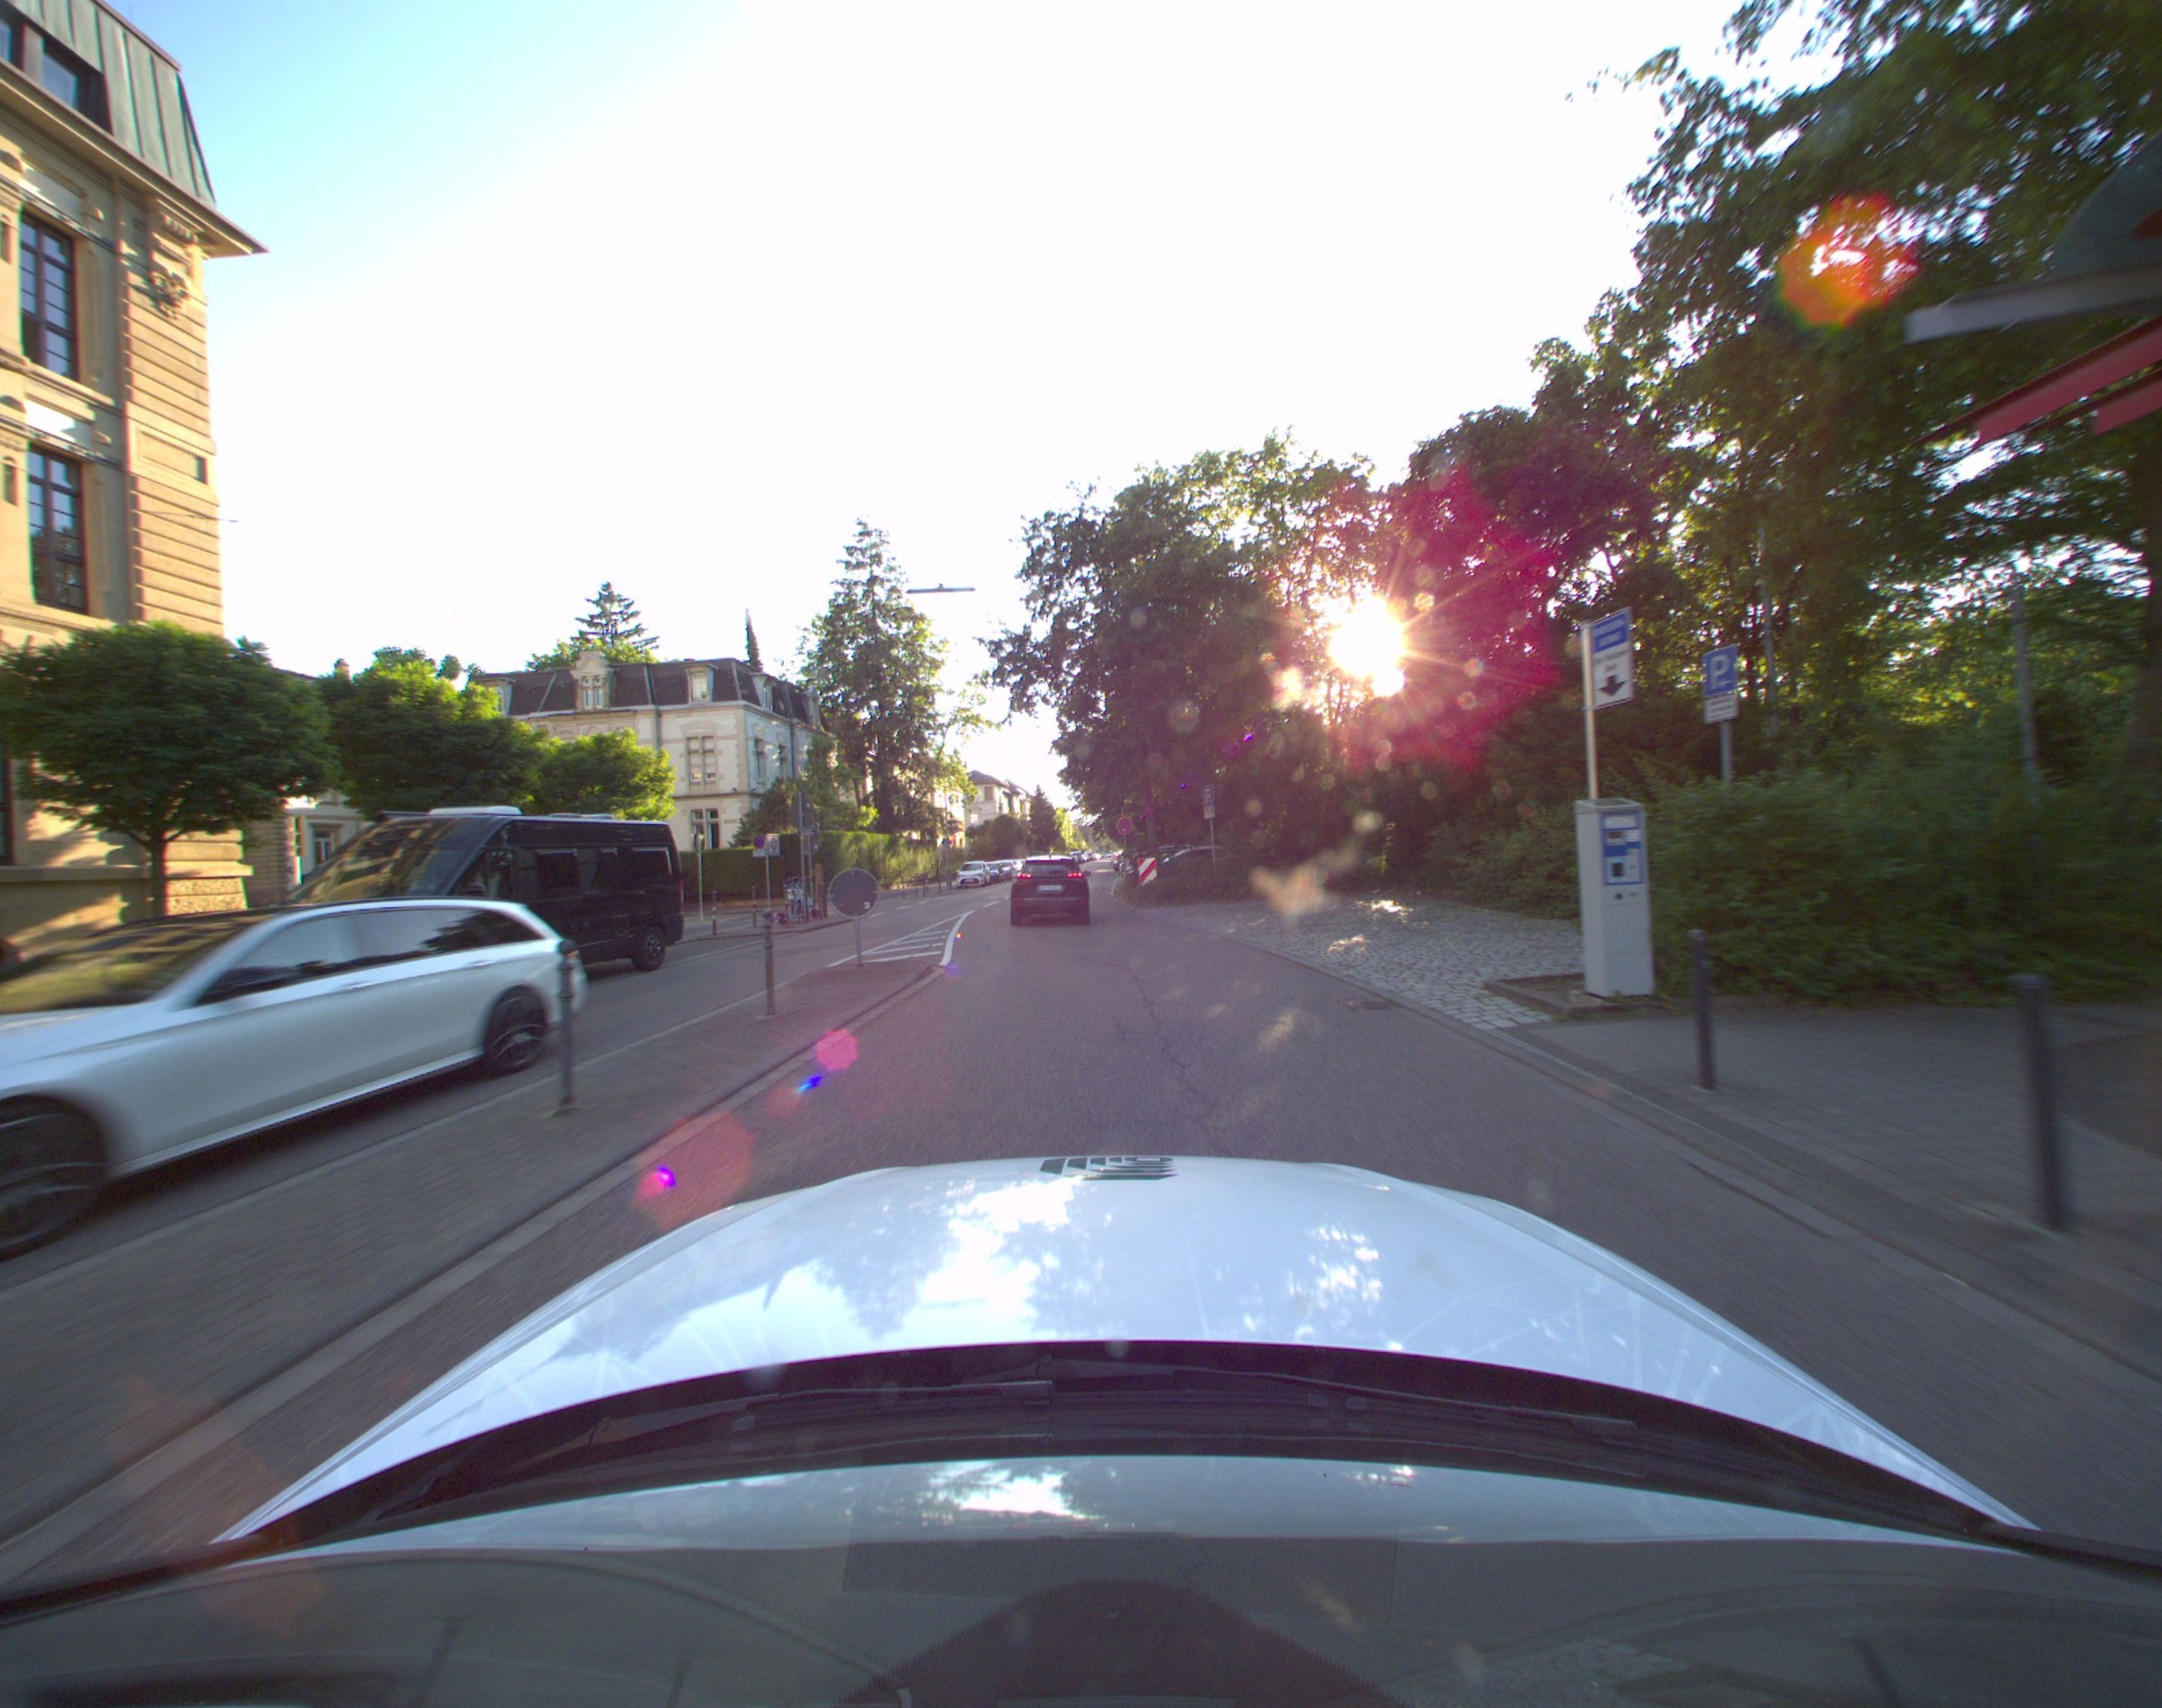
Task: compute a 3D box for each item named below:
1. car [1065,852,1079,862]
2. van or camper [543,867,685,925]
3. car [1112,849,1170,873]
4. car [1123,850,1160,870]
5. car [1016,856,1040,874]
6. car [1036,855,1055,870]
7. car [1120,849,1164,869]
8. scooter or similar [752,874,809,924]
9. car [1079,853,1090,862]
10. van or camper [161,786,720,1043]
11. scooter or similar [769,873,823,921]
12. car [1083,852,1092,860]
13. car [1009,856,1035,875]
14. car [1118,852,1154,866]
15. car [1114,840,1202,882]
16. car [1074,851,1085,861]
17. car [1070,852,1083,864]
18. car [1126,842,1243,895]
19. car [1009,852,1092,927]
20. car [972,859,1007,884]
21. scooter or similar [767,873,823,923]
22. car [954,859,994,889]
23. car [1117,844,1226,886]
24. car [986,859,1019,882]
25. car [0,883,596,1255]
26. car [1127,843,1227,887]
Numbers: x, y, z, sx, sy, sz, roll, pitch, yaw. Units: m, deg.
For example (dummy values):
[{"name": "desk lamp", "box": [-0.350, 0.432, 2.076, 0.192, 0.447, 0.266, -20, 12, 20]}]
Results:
[{"name": "car", "box": [-1.487, 0.534, 135.343, 1.892, 1.574, 4.002, -3, 0, 2]}, {"name": "van or camper", "box": [-19.764, 1.753, 34.636, 4.746, 1.985, 2.003, -3, 4, 4]}, {"name": "car", "box": [4.538, 0.546, 62.346, 4.229, 1.448, 2.021, -5, 0, 0]}, {"name": "car", "box": [7.001, 0.730, 94.293, 3.977, 2.089, 1.756, -3, 0, -3]}, {"name": "car", "box": [-4.743, 0.995, 73.590, 1.607, 1.466, 4.039, -4, 0, 3]}, {"name": "car", "box": [-3.951, 0.957, 90.035, 1.746, 1.413, 3.765, -5, 0, 1]}, {"name": "car", "box": [5.560, 0.468, 74.573, 3.798, 1.448, 1.825, -5, 0, -2]}, {"name": "scooter or similar", "box": [-8.283, 1.237, 22.455, 1.349, 1.275, 0.427, -3, -1, -33]}, {"name": "car", "box": [0.750, 0.746, 173.495, 1.986, 1.816, 4.002, -3, 0, 2]}, {"name": "van or camper", "box": [-8.080, 0.621, 11.798, 2.221, 2.544, 7.084, -2, 0, 2]}, {"name": "scooter or similar", "box": [-8.087, 1.205, 23.136, 1.349, 1.275, 0.427, -3, -1, -33]}, {"name": "car", "box": [1.503, 0.370, 196.635, 1.986, 1.816, 4.002, -3, 0, 2]}, {"name": "car", "box": [-4.977, 0.943, 68.986, 1.607, 1.466, 4.039, -4, 0, 3]}, {"name": "car", "box": [6.517, 0.577, 96.904, 3.977, 1.526, 1.756, -3, 0, -3]}, {"name": "car", "box": [3.932, 0.348, 42.102, 4.291, 1.804, 2.036, -5, 0, 1]}, {"name": "car", "box": [-0.276, 0.325, 157.732, 1.986, 1.768, 4.002, -3, 0, 2]}, {"name": "car", "box": [-0.777, 0.688, 145.859, 1.985, 2.013, 4.004, -3, 0, 4]}, {"name": "car", "box": [3.648, 0.494, 29.196, 3.971, 1.554, 1.727, -4, 1, 2]}, {"name": "car", "box": [-0.766, 0.761, 19.501, 1.768, 1.568, 4.103, -1, 0, -4]}, {"name": "car", "box": [-5.940, 1.125, 52.947, 1.607, 1.485, 3.744, -4, 0, 2]}, {"name": "scooter or similar", "box": [-7.746, 1.178, 22.074, 0.426, 1.275, 1.353, -3, -1, 38]}, {"name": "car", "box": [-6.183, 1.118, 47.305, 1.608, 1.515, 3.713, -5, 0, 1]}, {"name": "car", "box": [4.029, 0.480, 36.535, 4.488, 1.554, 1.849, -3, 1, -12]}, {"name": "car", "box": [-5.521, 1.154, 57.692, 1.607, 1.466, 4.039, -4, 0, 3]}, {"name": "car", "box": [-5.455, 1.045, 5.185, 1.734, 1.458, 4.626, -4, 0, 2]}, {"name": "car", "box": [3.995, 0.449, 34.290, 3.971, 1.554, 1.753, -4, 1, 2]}]
